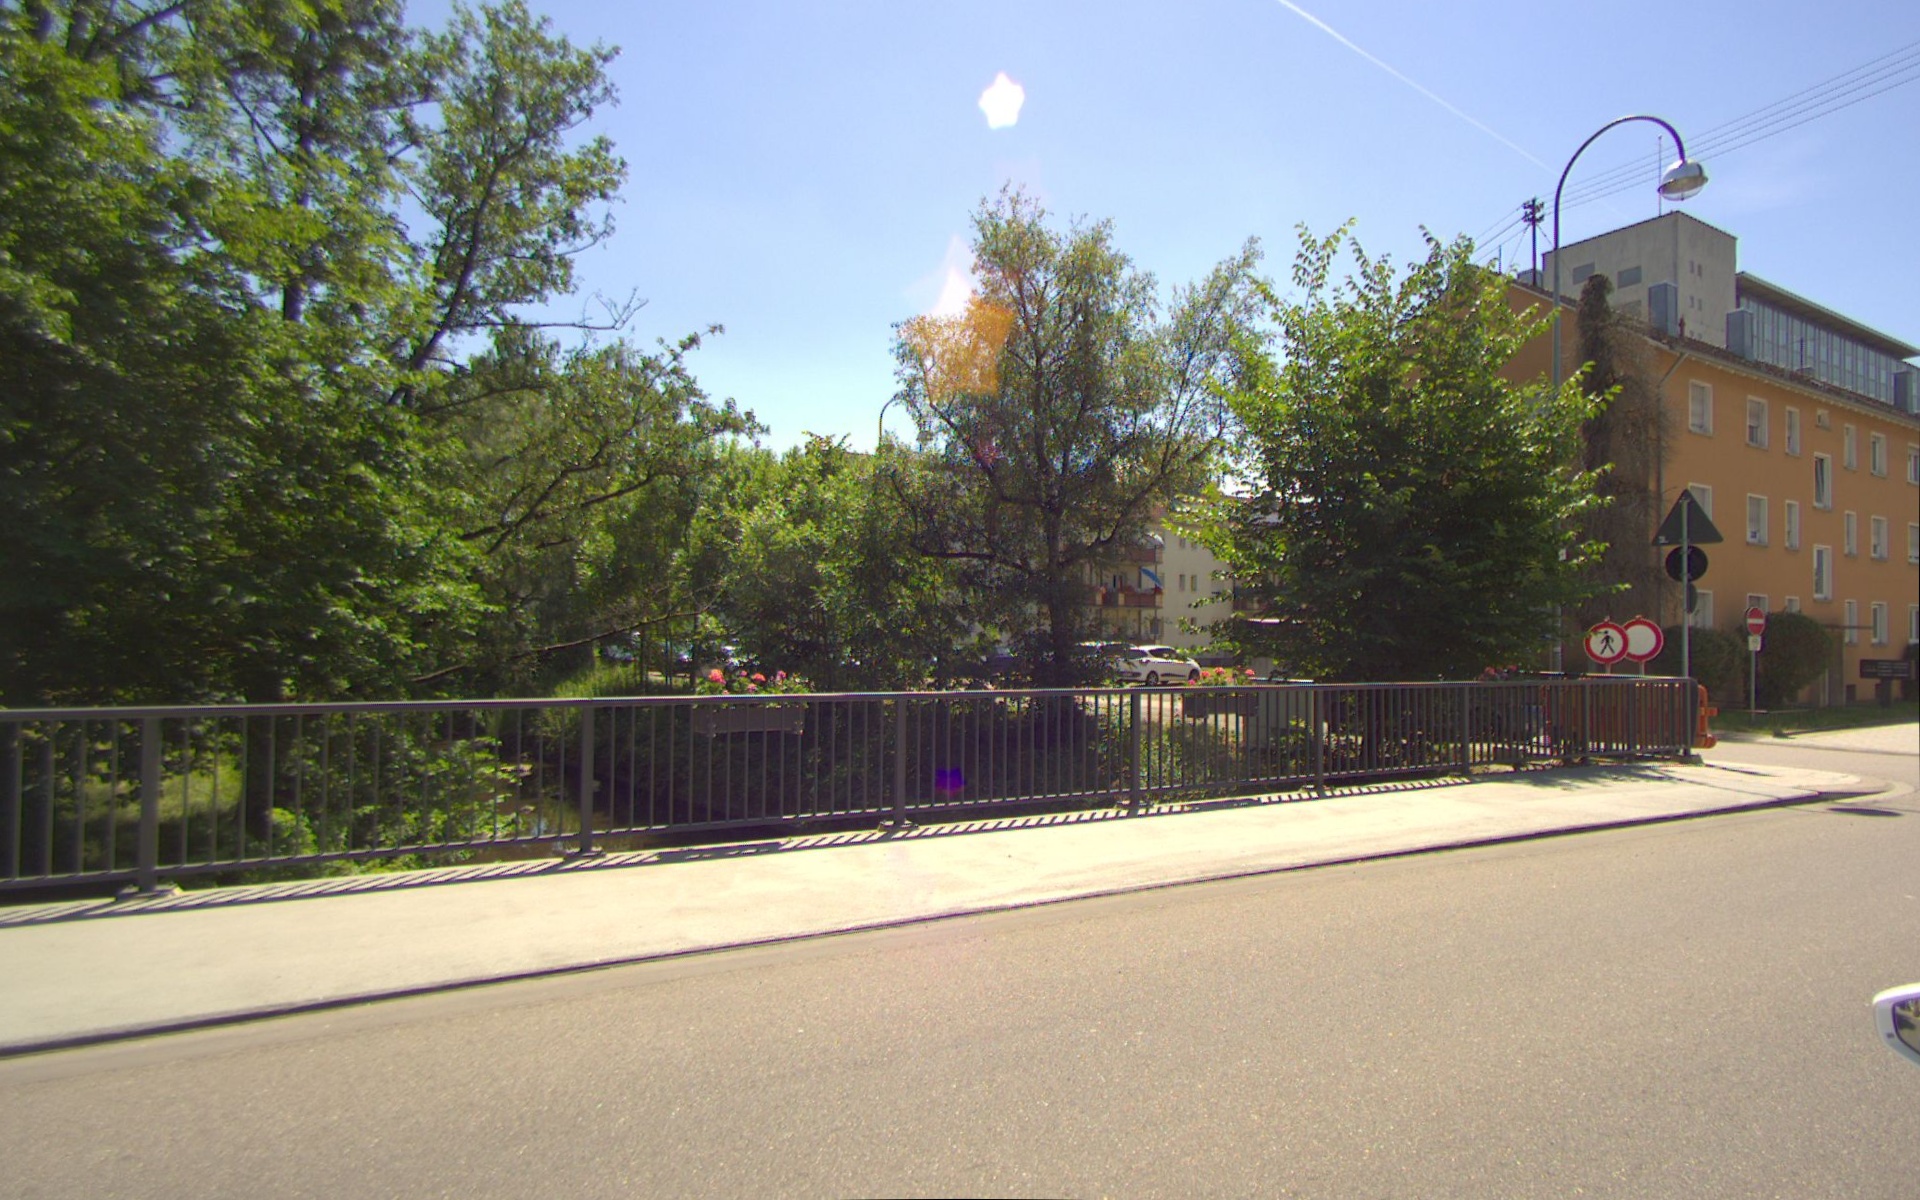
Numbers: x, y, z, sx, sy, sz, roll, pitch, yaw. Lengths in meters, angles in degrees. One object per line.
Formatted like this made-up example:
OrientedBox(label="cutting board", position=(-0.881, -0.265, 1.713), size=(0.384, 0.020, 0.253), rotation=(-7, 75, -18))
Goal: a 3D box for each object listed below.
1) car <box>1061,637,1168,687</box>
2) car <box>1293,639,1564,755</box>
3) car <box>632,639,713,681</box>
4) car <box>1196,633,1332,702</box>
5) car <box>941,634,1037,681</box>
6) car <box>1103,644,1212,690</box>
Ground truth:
OrientedBox(label="car", position=(6.198, 2.432, 40.148), size=(3.959, 1.840, 1.981), rotation=(2, -1, -35))
OrientedBox(label="car", position=(8.862, 1.733, 19.312), size=(1.804, 1.899, 4.386), rotation=(1, -2, -40))
OrientedBox(label="car", position=(-13.322, 2.727, 46.449), size=(1.984, 1.825, 4.387), rotation=(3, -3, -40))
OrientedBox(label="car", position=(9.559, 2.111, 31.919), size=(1.974, 2.040, 3.975), rotation=(1, -3, -26))
OrientedBox(label="car", position=(1.330, 2.653, 46.154), size=(3.956, 2.040, 1.983), rotation=(2, -2, -32))
OrientedBox(label="car", position=(7.607, 2.520, 38.589), size=(3.962, 1.524, 1.979), rotation=(0, 0, -37))
